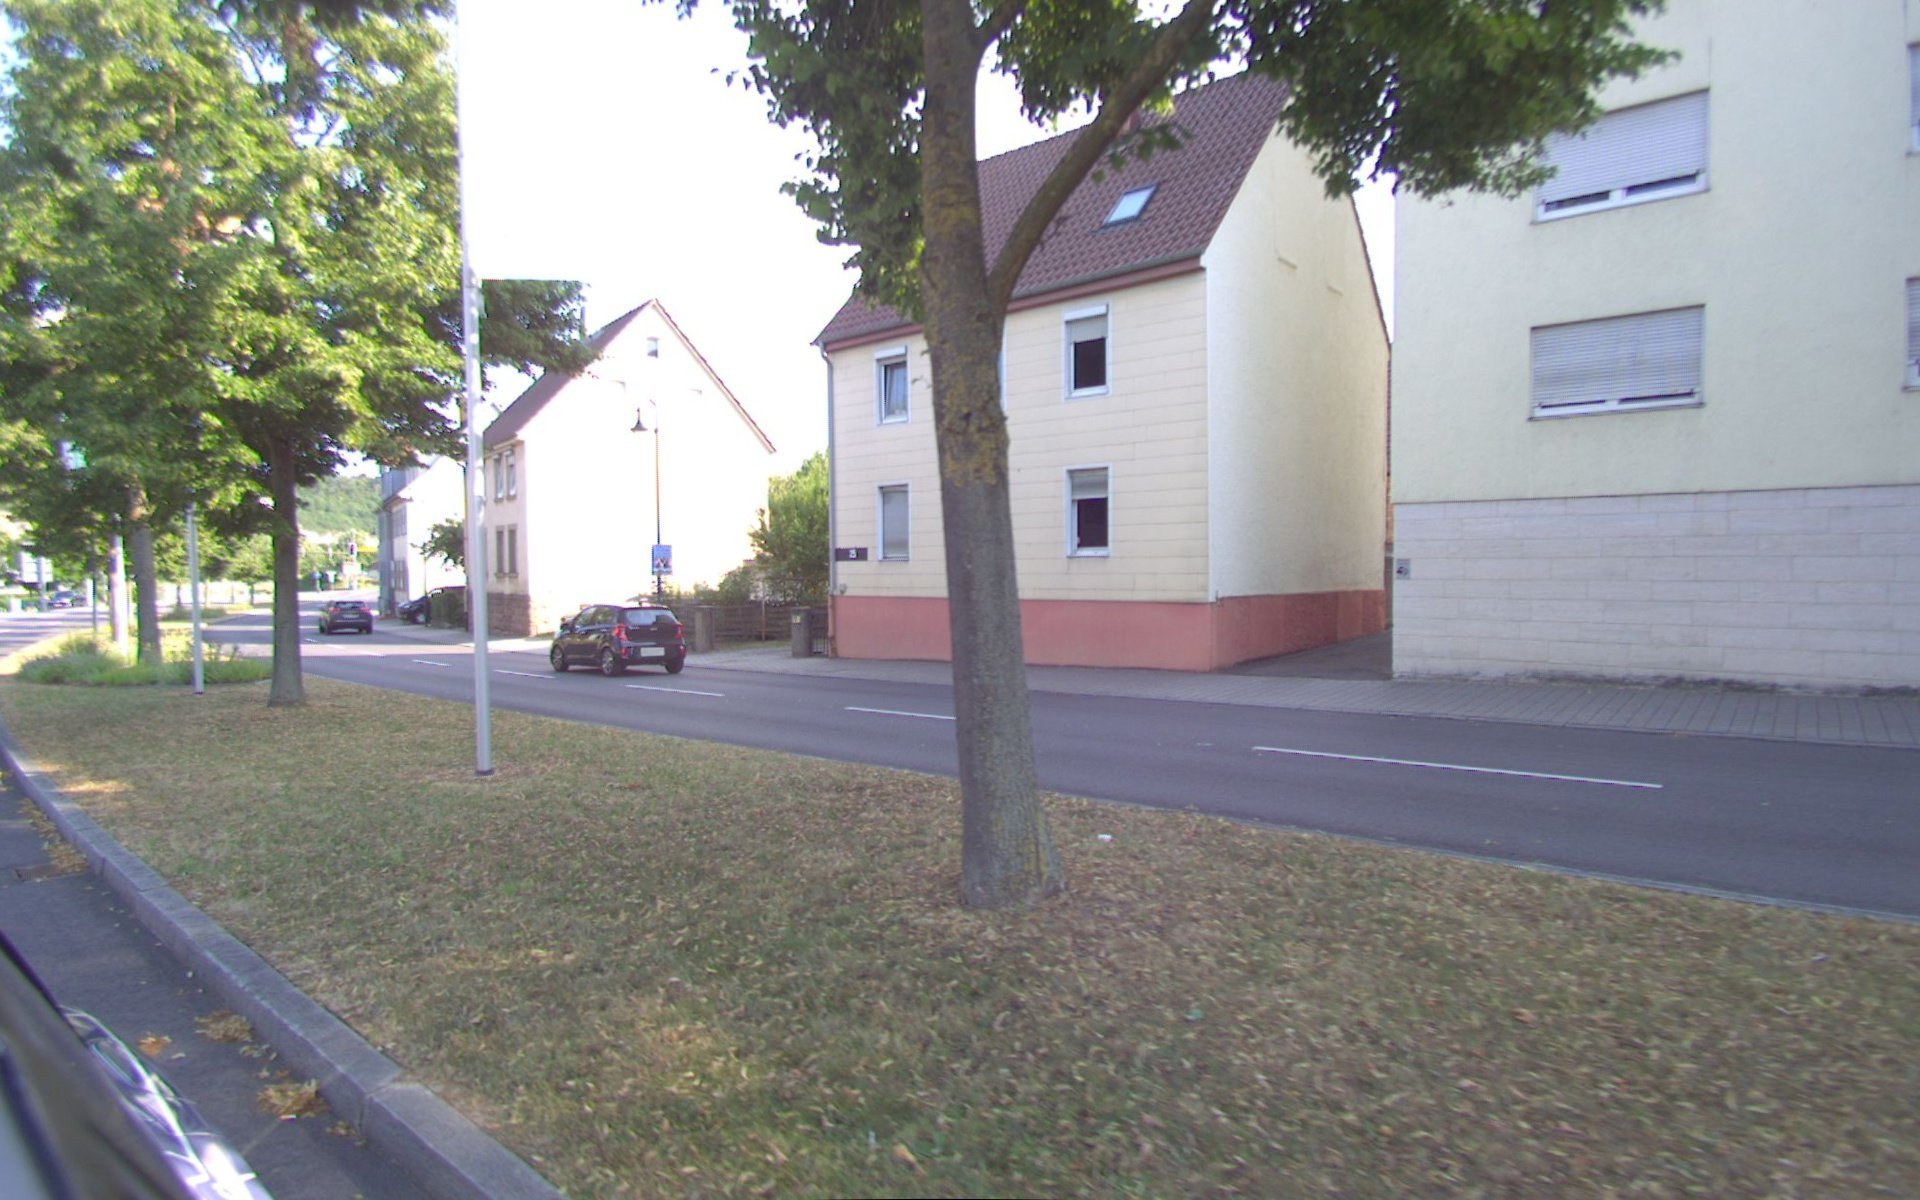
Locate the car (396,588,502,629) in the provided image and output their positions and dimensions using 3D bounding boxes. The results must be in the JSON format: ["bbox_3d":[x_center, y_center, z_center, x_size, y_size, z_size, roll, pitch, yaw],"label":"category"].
[{"bbox_3d":[-27.194,0.428,53.948,4.759,1.891,2.005,-4,2,-33],"label":"car"}]

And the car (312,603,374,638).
[{"bbox_3d":[-27.768,0.886,45.490,1.915,1.497,4.334,0,0,-37],"label":"car"}]

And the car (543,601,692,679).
[{"bbox_3d":[-7.322,0.784,21.436,1.586,1.497,3.788,0,0,-43],"label":"car"}]

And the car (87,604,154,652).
[{"bbox_3d":[-28.053,0.898,33.889,1.520,1.497,3.438,-1,0,-37],"label":"car"}]

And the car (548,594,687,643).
[{"bbox_3d":[-12.054,0.615,35.658,4.286,1.497,2.018,-2,1,-29],"label":"car"}]
